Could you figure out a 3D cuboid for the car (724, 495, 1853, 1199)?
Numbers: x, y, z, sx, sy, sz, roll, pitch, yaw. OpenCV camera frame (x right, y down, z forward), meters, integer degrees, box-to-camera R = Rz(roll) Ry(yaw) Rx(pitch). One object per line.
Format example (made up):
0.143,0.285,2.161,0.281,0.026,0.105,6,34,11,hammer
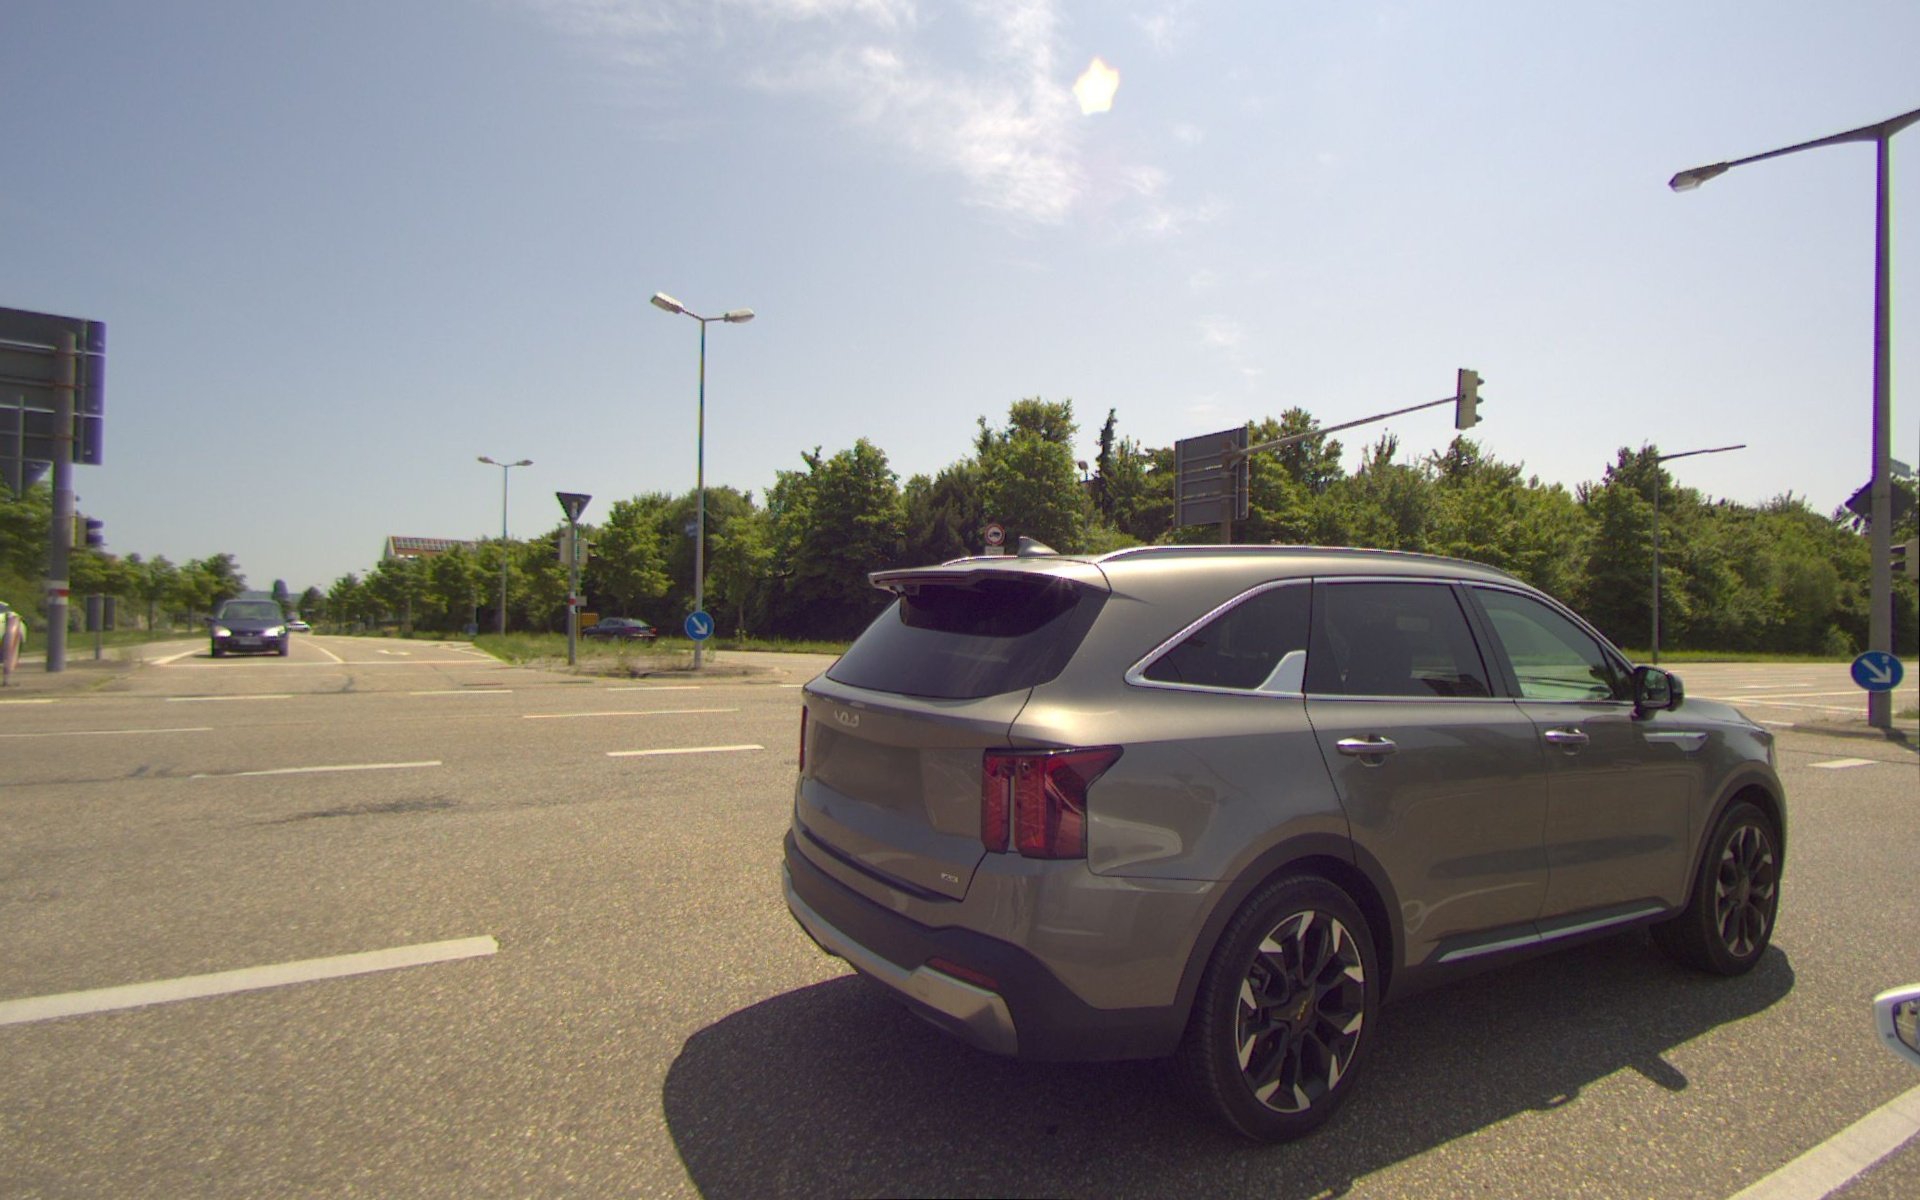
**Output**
1.557,0.686,4.115,4.589,1.684,1.795,2,-1,-30,car

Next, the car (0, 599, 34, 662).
-23.711,0.730,23.095,1.849,1.521,4.294,-2,-2,-17,car

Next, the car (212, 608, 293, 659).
-20.187,0.944,28.794,1.685,1.353,3.964,1,-2,-33,car

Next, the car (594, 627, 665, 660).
-15.349,1.974,46.543,1.728,1.439,3.952,2,-2,-41,car
